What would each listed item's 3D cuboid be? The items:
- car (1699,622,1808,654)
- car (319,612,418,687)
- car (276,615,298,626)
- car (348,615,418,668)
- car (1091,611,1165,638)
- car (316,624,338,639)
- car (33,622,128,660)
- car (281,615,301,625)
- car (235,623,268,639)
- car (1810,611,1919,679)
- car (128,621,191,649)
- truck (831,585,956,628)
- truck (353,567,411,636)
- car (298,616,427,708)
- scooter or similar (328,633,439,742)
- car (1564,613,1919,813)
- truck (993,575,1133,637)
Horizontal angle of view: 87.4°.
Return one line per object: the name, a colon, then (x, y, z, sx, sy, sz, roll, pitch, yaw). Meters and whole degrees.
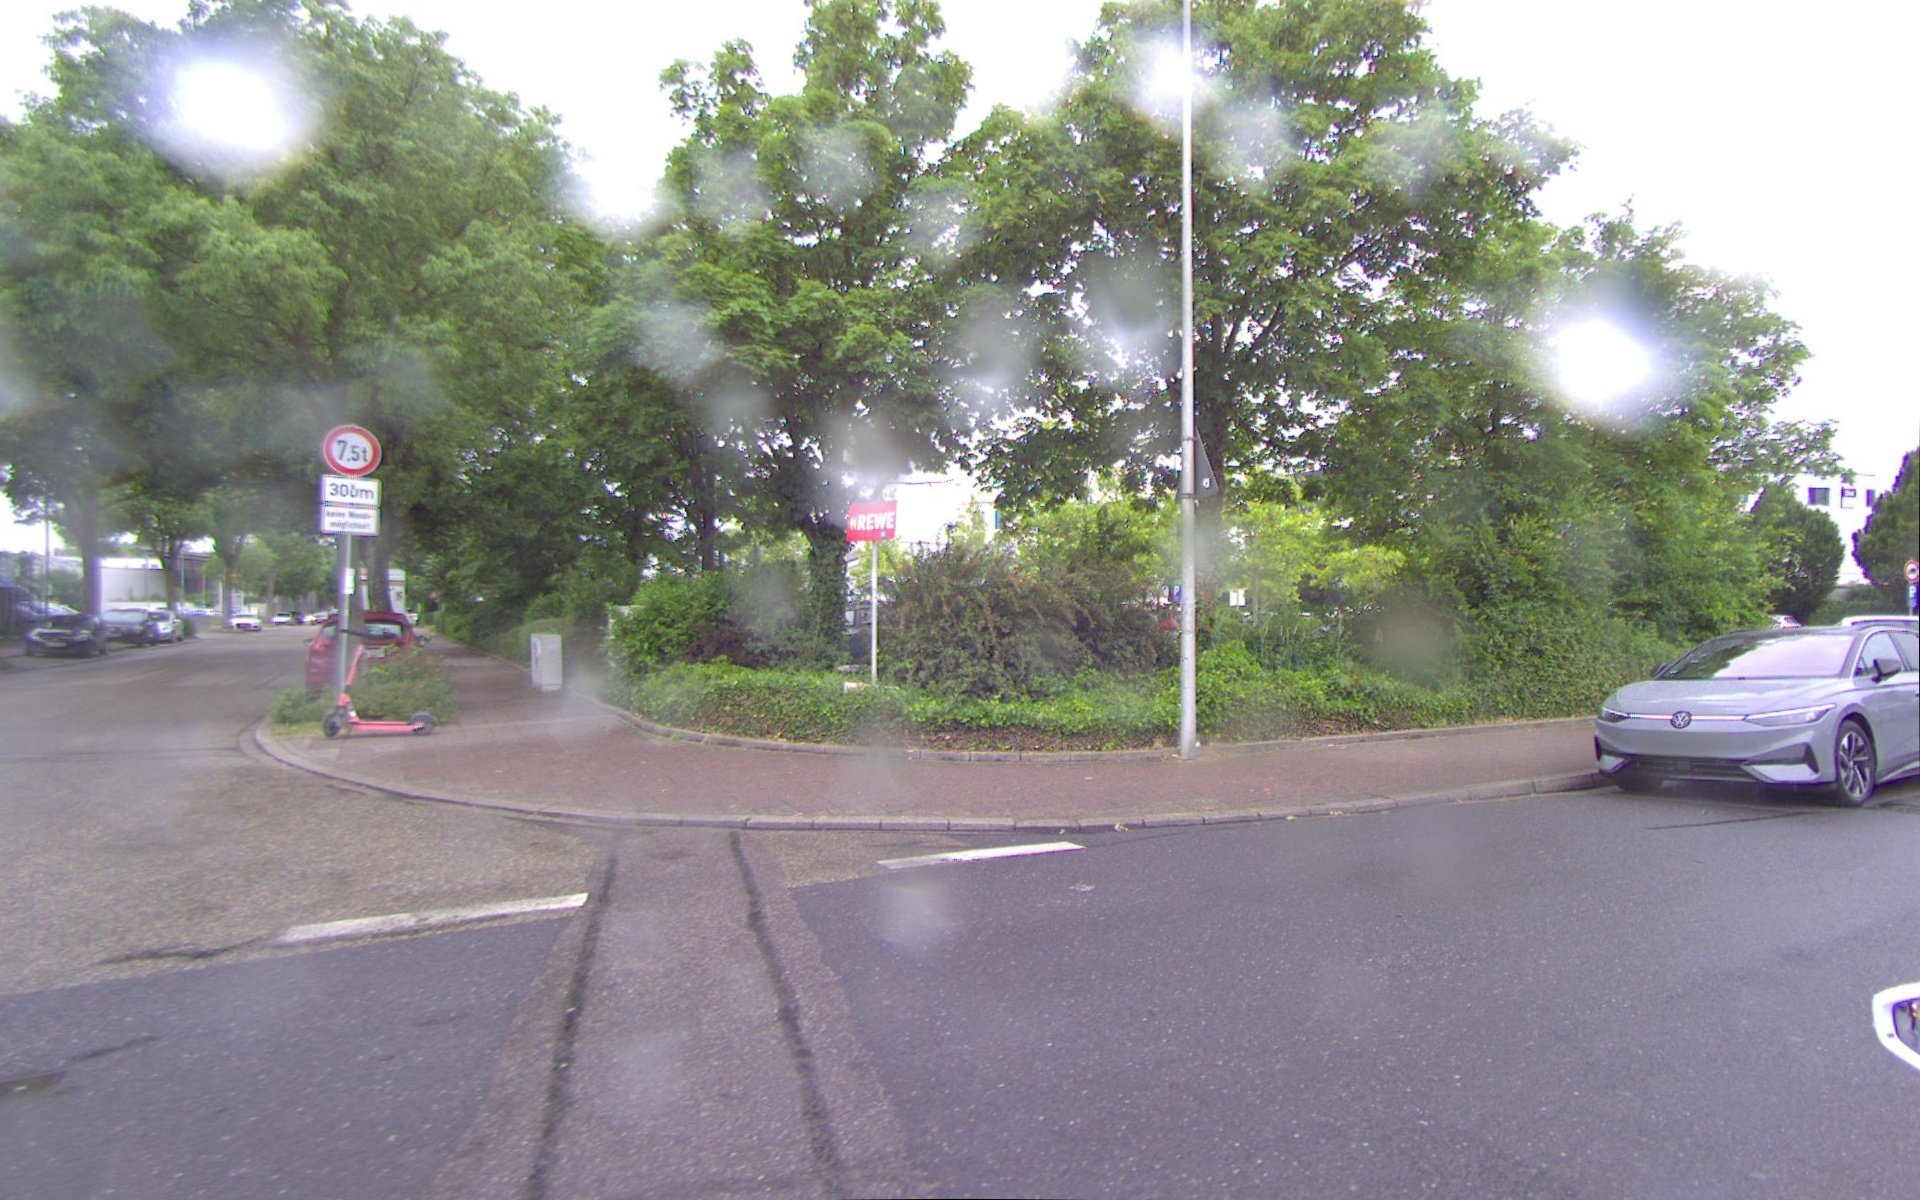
car: (40.859, 1.920, 51.807, 1.974, 1.519, 3.973, 0, -1, -27)
car: (-12.834, 1.027, 21.922, 1.715, 1.460, 3.969, 0, -1, -29)
car: (-73.007, 2.229, 109.021, 1.550, 1.218, 3.972, 1, -1, -27)
car: (-17.093, 1.194, 29.830, 1.715, 1.460, 3.969, 0, -1, -29)
car: (8.863, 1.265, 53.228, 1.833, 1.353, 3.969, 1, -1, -29)
car: (-68.566, 3.371, 108.810, 1.904, 1.593, 3.966, 1, -1, -31)
car: (-30.263, 1.375, 34.686, 1.550, 1.218, 3.972, 1, -1, -27)
car: (-78.690, 2.362, 118.173, 1.550, 1.218, 3.972, 1, -1, -27)
car: (-55.157, 2.404, 78.227, 1.550, 1.218, 3.972, 1, -1, -27)
car: (22.015, 1.017, 22.564, 1.693, 1.479, 4.168, 1, 0, -31)
car: (-37.831, 1.633, 47.533, 1.550, 1.218, 3.972, 1, -1, -27)
truck: (-3.307, 0.355, 50.677, 6.065, 2.088, 1.983, 1, -1, -32)
truck: (-31.476, 0.132, 54.737, 2.572, 3.515, 6.761, 1, -1, -30)
car: (-10.230, 0.997, 17.352, 1.715, 1.381, 3.969, 0, -1, -29)
scooter or similar: (-6.482, 0.968, 11.333, 1.045, 1.191, 0.283, 1, -1, -23)
car: (8.134, 0.973, 9.769, 4.692, 1.548, 1.801, 1, -5, -30)
truck: (4.708, 0.295, 45.440, 6.315, 2.636, 1.986, 1, -1, -28)
